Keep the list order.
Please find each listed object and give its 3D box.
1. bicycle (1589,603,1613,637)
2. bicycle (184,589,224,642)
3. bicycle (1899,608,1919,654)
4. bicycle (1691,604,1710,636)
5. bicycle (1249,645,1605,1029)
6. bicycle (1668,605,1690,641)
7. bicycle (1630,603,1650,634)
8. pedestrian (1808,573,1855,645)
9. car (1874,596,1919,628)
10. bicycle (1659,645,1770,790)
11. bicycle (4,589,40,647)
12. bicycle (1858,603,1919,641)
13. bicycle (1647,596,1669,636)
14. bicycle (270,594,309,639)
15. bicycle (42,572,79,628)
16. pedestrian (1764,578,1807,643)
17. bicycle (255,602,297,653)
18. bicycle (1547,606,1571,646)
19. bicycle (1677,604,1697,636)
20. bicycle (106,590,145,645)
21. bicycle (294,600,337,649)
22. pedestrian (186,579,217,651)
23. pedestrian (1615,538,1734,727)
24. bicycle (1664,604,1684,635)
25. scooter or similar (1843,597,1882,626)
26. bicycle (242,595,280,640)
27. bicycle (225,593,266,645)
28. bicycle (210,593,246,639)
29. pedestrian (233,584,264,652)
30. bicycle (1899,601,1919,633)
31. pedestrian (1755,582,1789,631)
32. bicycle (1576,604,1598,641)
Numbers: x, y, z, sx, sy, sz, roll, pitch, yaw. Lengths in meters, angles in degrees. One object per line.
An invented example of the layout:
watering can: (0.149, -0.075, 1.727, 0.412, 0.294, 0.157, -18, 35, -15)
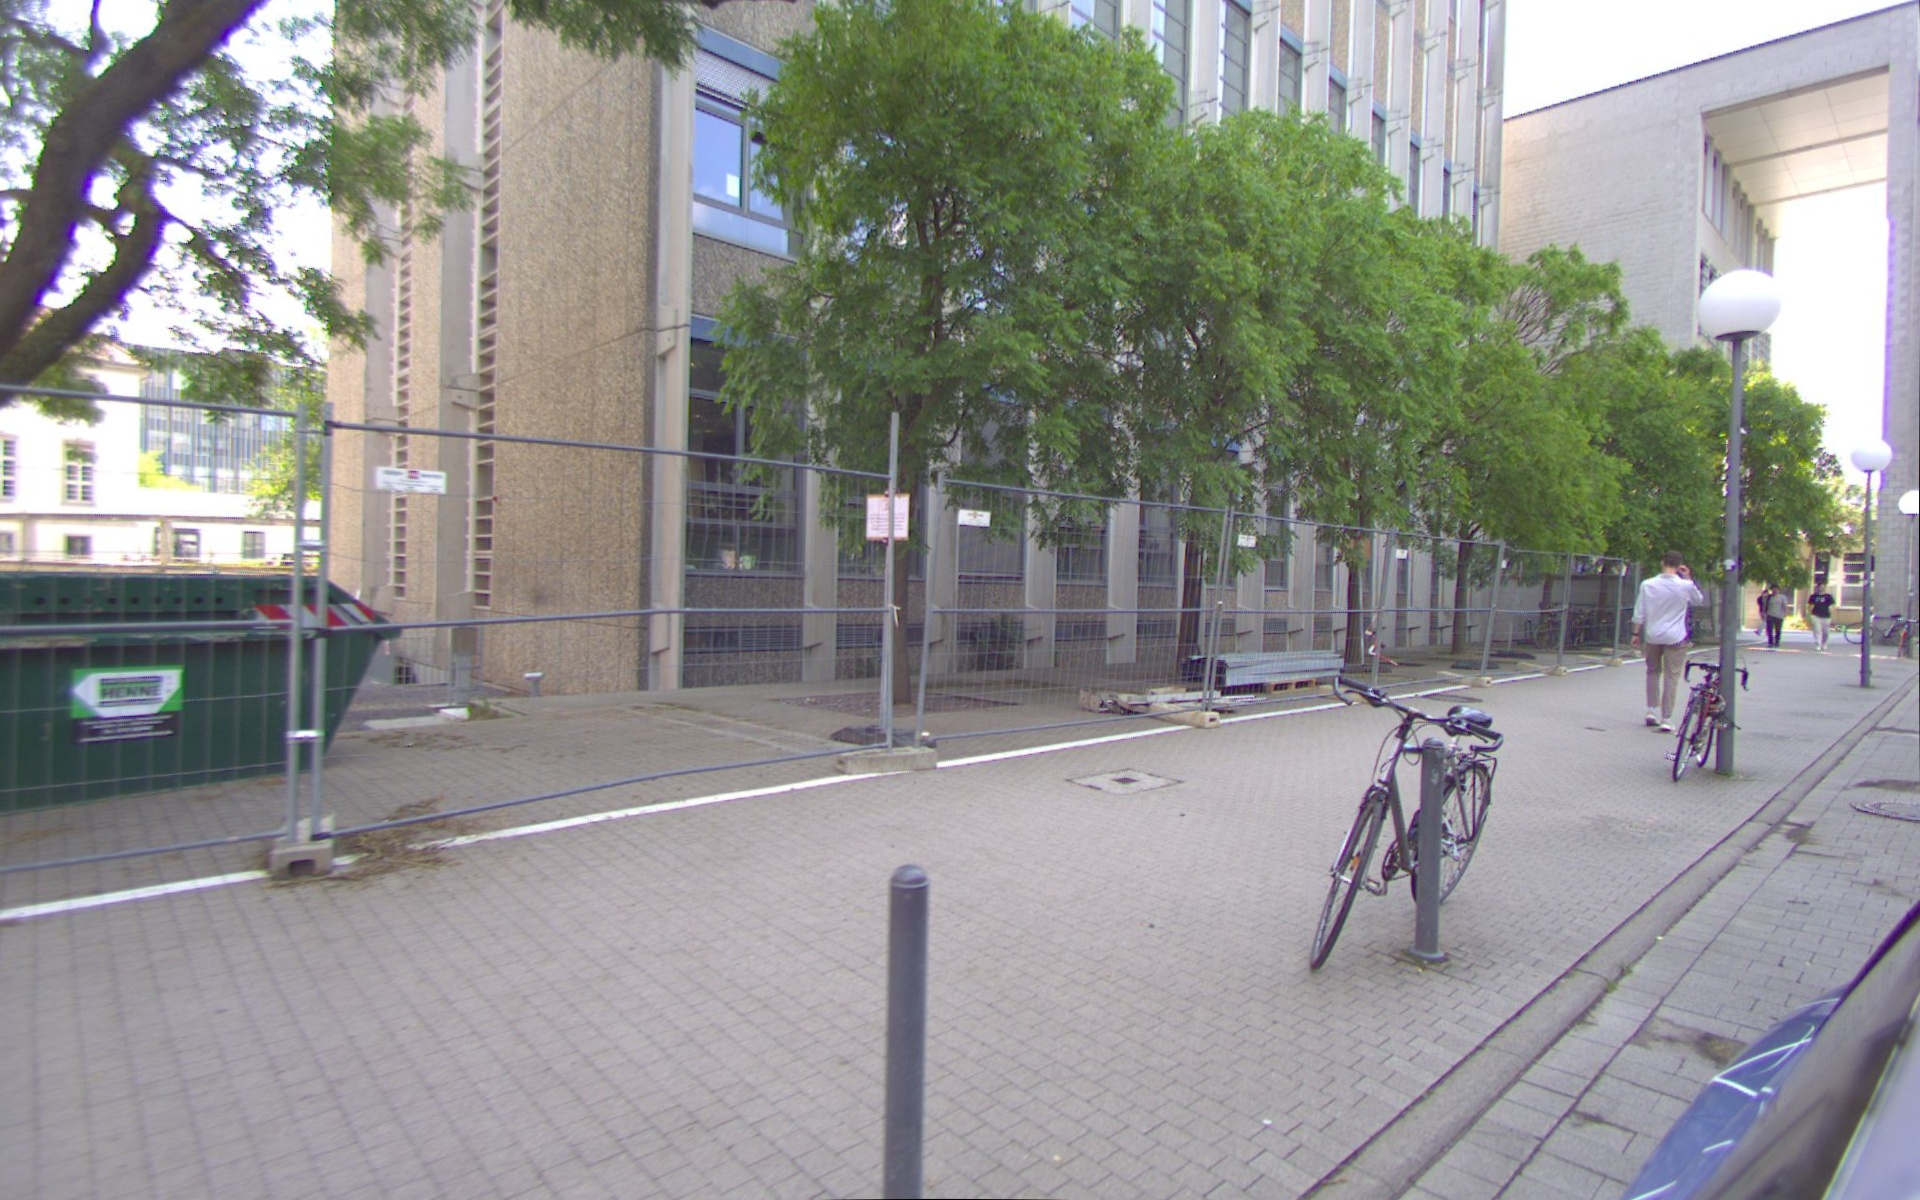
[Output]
bicycle: (18.195, 0.553, 28.728, 0.290, 0.917, 1.426, 2, 1, 43)
bicycle: (-17.735, 0.354, 23.727, 0.536, 1.184, 1.998, 0, 0, -43)
bicycle: (23.291, 0.731, 24.613, 1.828, 1.052, 0.537, 0, 2, -44)
bicycle: (21.940, 0.588, 29.973, 0.290, 0.917, 1.426, 2, 1, 43)
bicycle: (1.921, 0.784, 4.033, 1.720, 1.106, 0.709, 0, 1, -44)
bicycle: (19.584, 0.617, 27.553, 0.290, 0.917, 1.426, 2, 1, 43)
bicycle: (20.991, 0.558, 31.223, 0.290, 0.917, 1.426, 2, 1, 43)
pedestrian: (22.727, 0.230, 26.411, 0.697, 1.825, 0.874, 2, 1, 29)
car: (47.679, 0.612, 49.867, 1.626, 1.494, 3.772, -2, 3, -43)
bicycle: (5.983, 0.875, 7.993, 1.703, 0.947, 0.396, 0, 3, -44)
bicycle: (-20.004, 0.370, 21.571, 0.536, 1.184, 1.998, 0, 0, -43)
bicycle: (27.693, 0.647, 29.860, 1.738, 1.052, 0.442, 3, 1, 43)
bicycle: (20.445, 0.455, 29.637, 0.290, 1.142, 1.426, 2, 1, 43)
bicycle: (-18.500, 0.434, 27.909, 0.536, 1.184, 2.062, 0, 0, -43)
bicycle: (-19.573, 0.000, 22.008, 0.536, 1.184, 1.998, 0, 0, -43)
pedestrian: (22.087, 0.275, 27.094, 0.697, 1.676, 0.874, 2, 1, 29)
bicycle: (-16.776, 0.655, 24.810, 0.536, 1.184, 1.998, 0, 0, -43)
bicycle: (14.845, 0.630, 25.076, 0.290, 0.917, 1.597, 2, 1, 38)
bicycle: (21.717, 0.594, 30.228, 0.290, 0.917, 1.426, 2, 1, 43)
bicycle: (-18.818, 0.372, 22.817, 0.536, 1.184, 1.998, 0, 0, -43)
bicycle: (-16.097, 0.595, 25.260, 0.536, 1.184, 1.998, 0, 0, -43)
pedestrian: (-17.752, 0.341, 23.679, 0.524, 1.651, 0.562, 0, 0, -42)
pedestrian: (7.488, 0.315, 10.659, 0.776, 1.868, 1.109, 0, 0, 22)
bicycle: (21.575, 0.579, 30.578, 0.290, 0.917, 1.426, 2, 1, 43)
scooter or similar: (38.439, 0.471, 43.091, 0.436, 1.165, 1.158, 1, 1, -38)
bicycle: (-18.996, 0.452, 27.495, 0.536, 1.184, 2.062, 0, 0, -43)
bicycle: (-17.206, 0.440, 24.359, 0.536, 1.184, 1.998, 0, 0, -43)
bicycle: (-19.530, 0.415, 26.990, 0.536, 1.184, 1.998, 0, 0, -43)
pedestrian: (-17.321, 0.421, 24.632, 0.553, 1.633, 0.532, 0, 0, -42)
bicycle: (36.736, 0.682, 38.154, 1.880, 1.178, 0.595, 5, 2, 42)
pedestrian: (30.699, 0.231, 38.274, 0.955, 1.837, 0.760, 0, 0, 37)
bicycle: (16.413, 0.562, 26.475, 0.290, 0.917, 1.780, 2, 1, 38)
